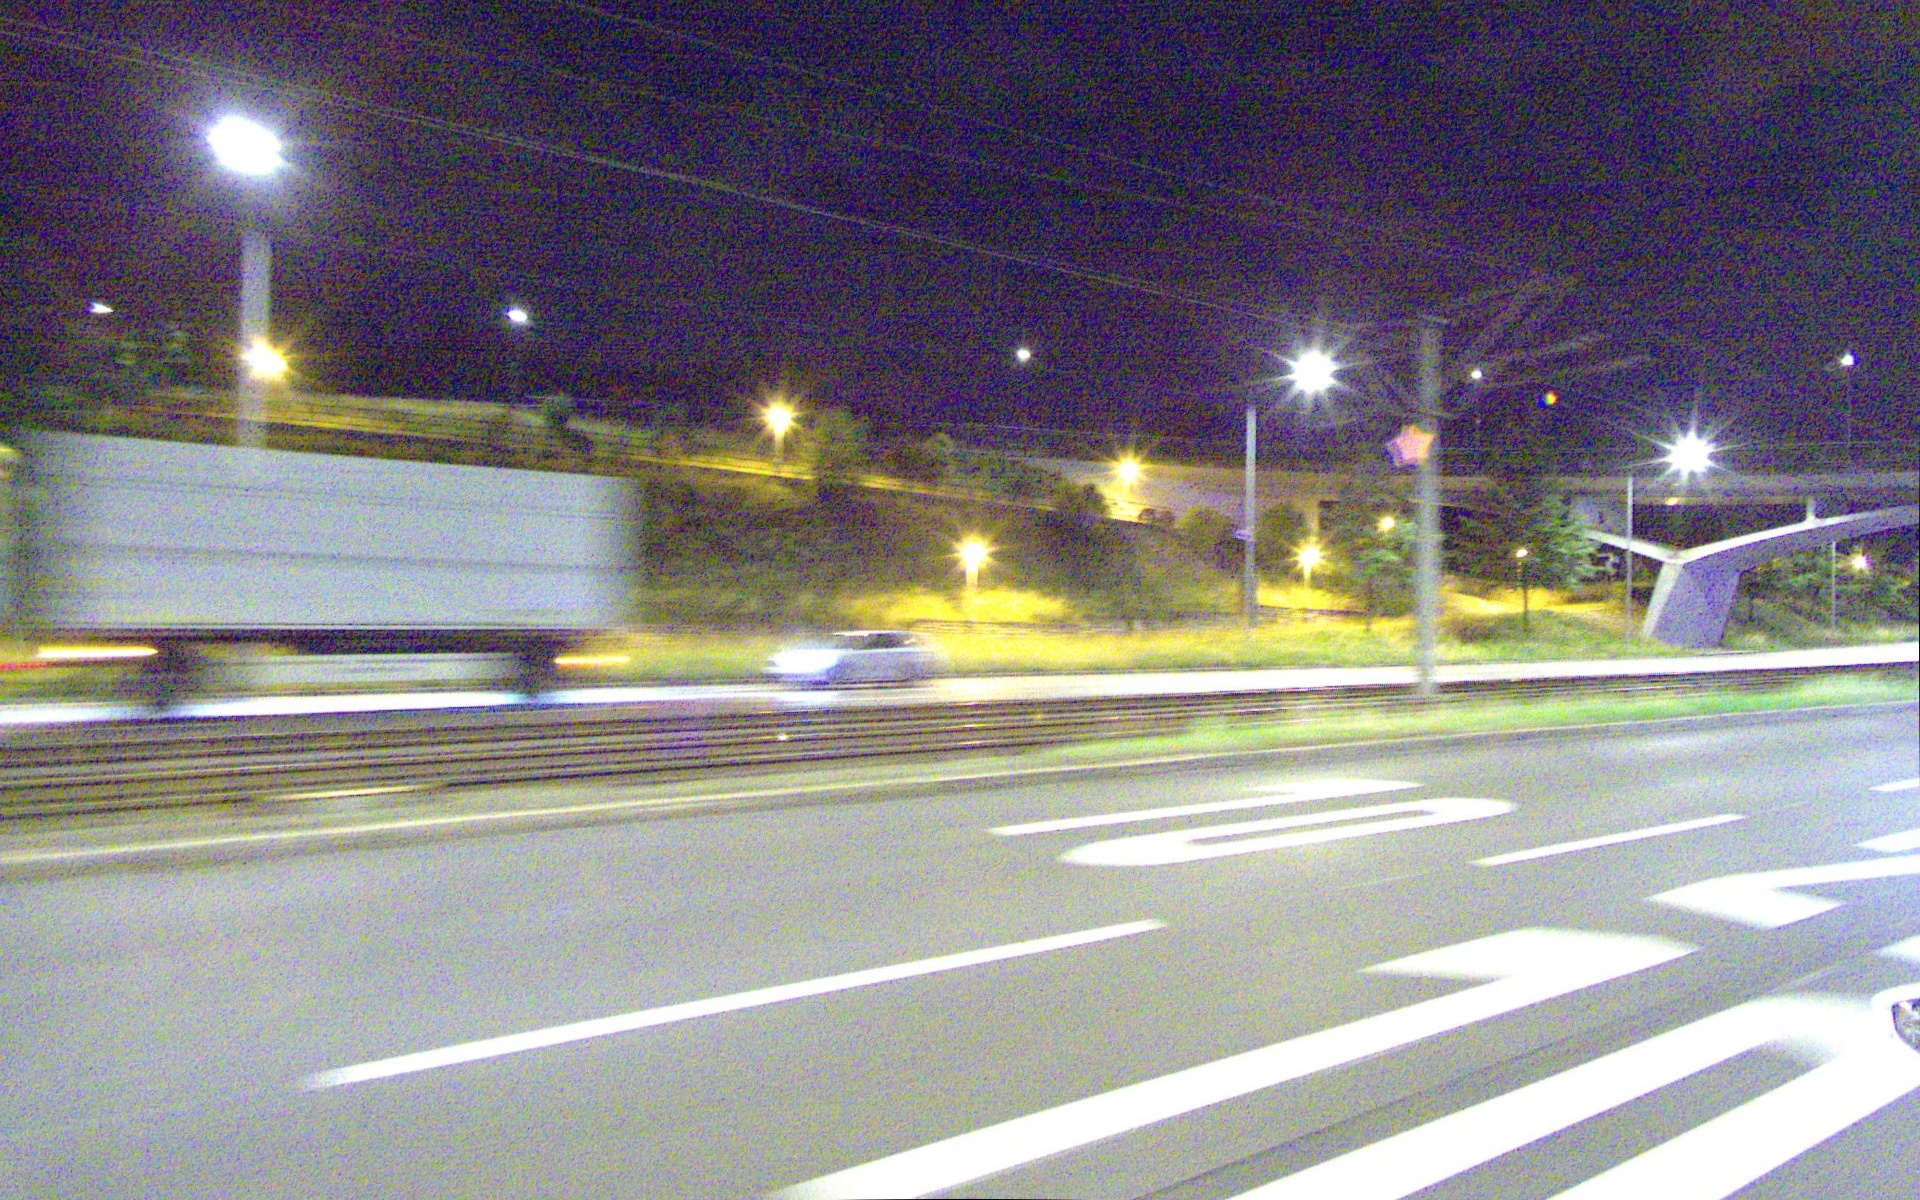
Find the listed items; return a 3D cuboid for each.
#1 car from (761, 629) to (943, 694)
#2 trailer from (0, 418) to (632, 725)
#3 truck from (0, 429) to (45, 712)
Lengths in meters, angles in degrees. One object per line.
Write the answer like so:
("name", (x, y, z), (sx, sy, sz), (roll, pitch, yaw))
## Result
("car", (-2.701, 1.515, 25.332), (4.158, 1.500, 1.975), (1, -3, -33))
("trailer", (-10.244, -0.291, 16.912), (8.303, 4.043, 3.676), (2, 0, -32))
("truck", (-18.183, -0.538, 11.841), (10.306, 4.007, 3.661), (2, 0, -32))
